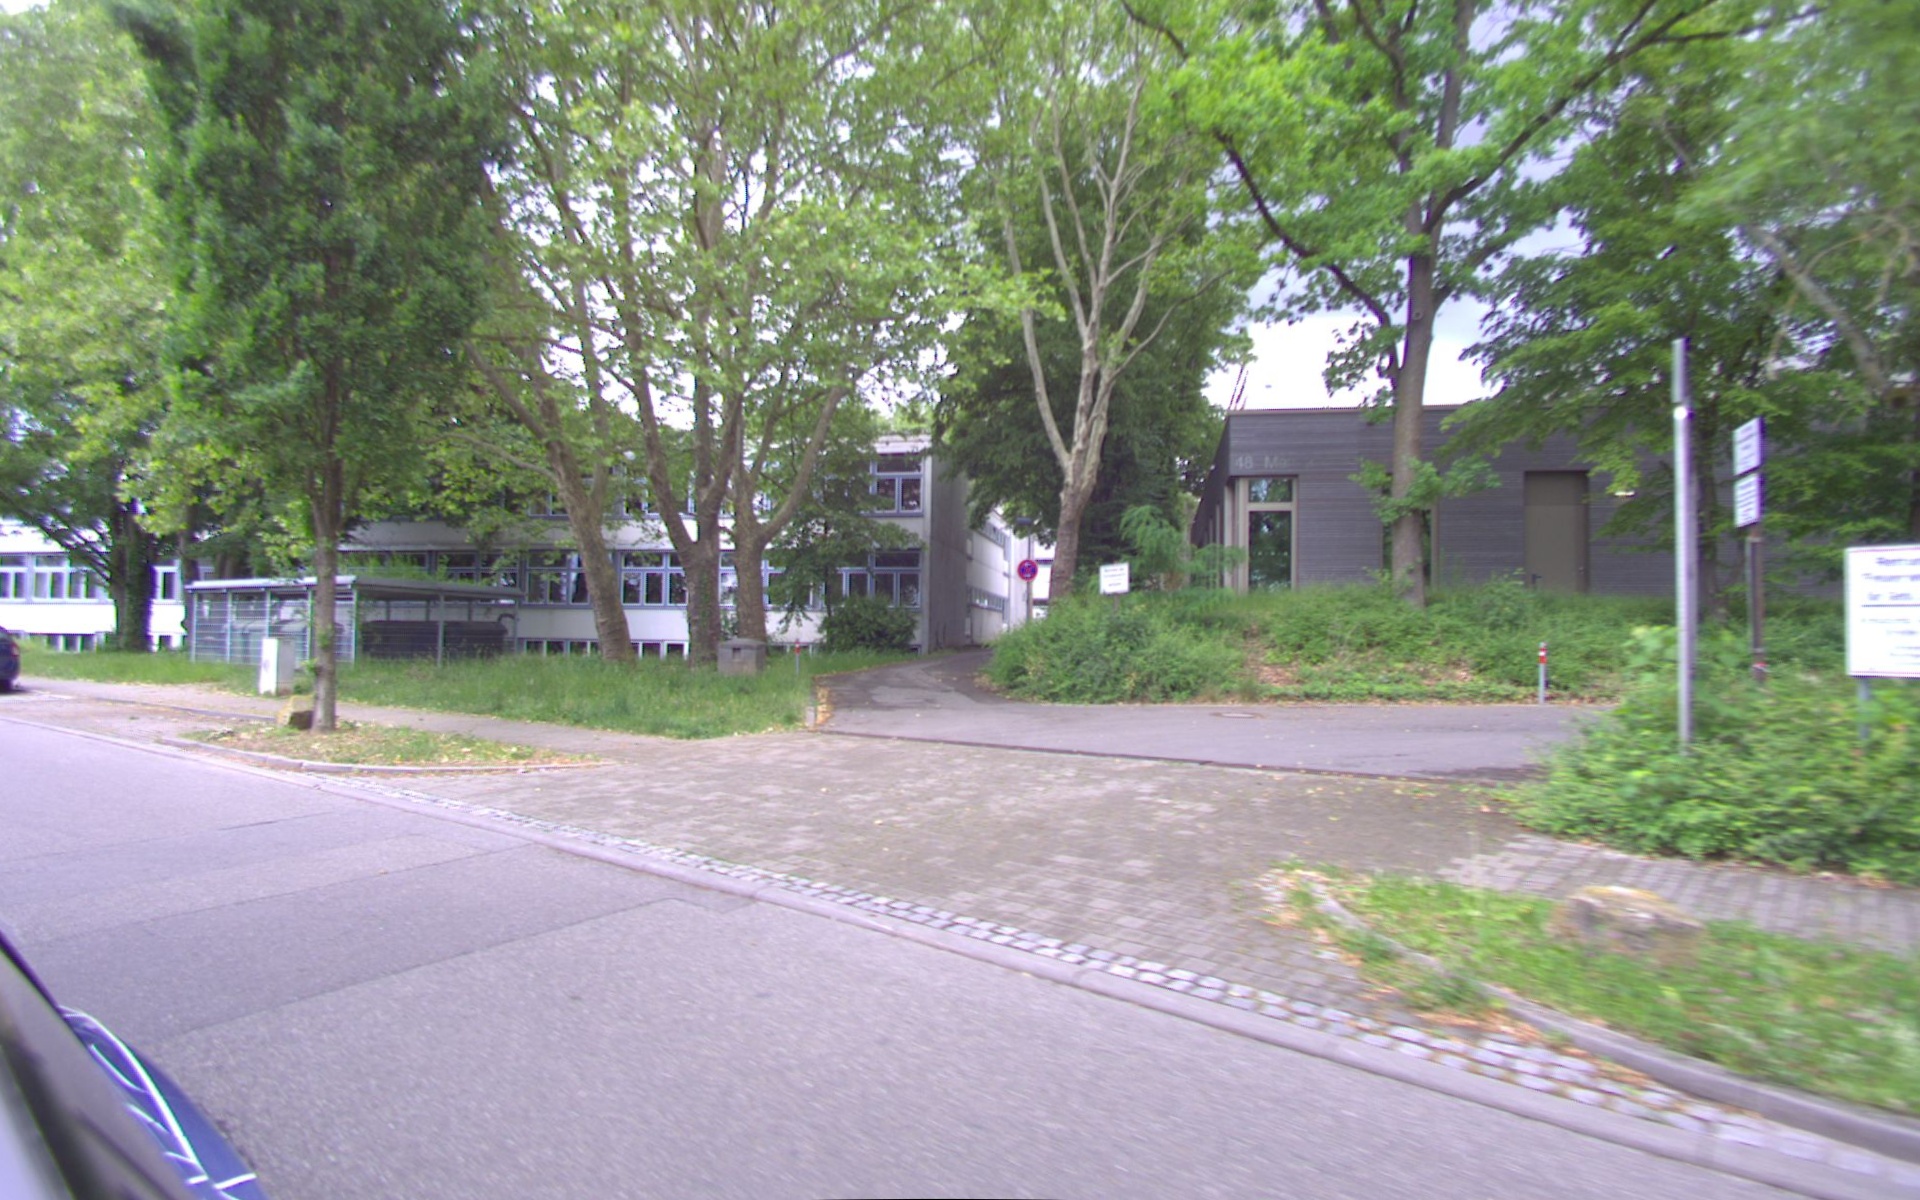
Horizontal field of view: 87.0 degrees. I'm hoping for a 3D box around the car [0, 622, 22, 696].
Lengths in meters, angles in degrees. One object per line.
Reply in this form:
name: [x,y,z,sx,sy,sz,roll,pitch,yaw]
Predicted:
car: [-21.746,1.221,21.320,4.413,1.523,1.668,-1,-2,30]
